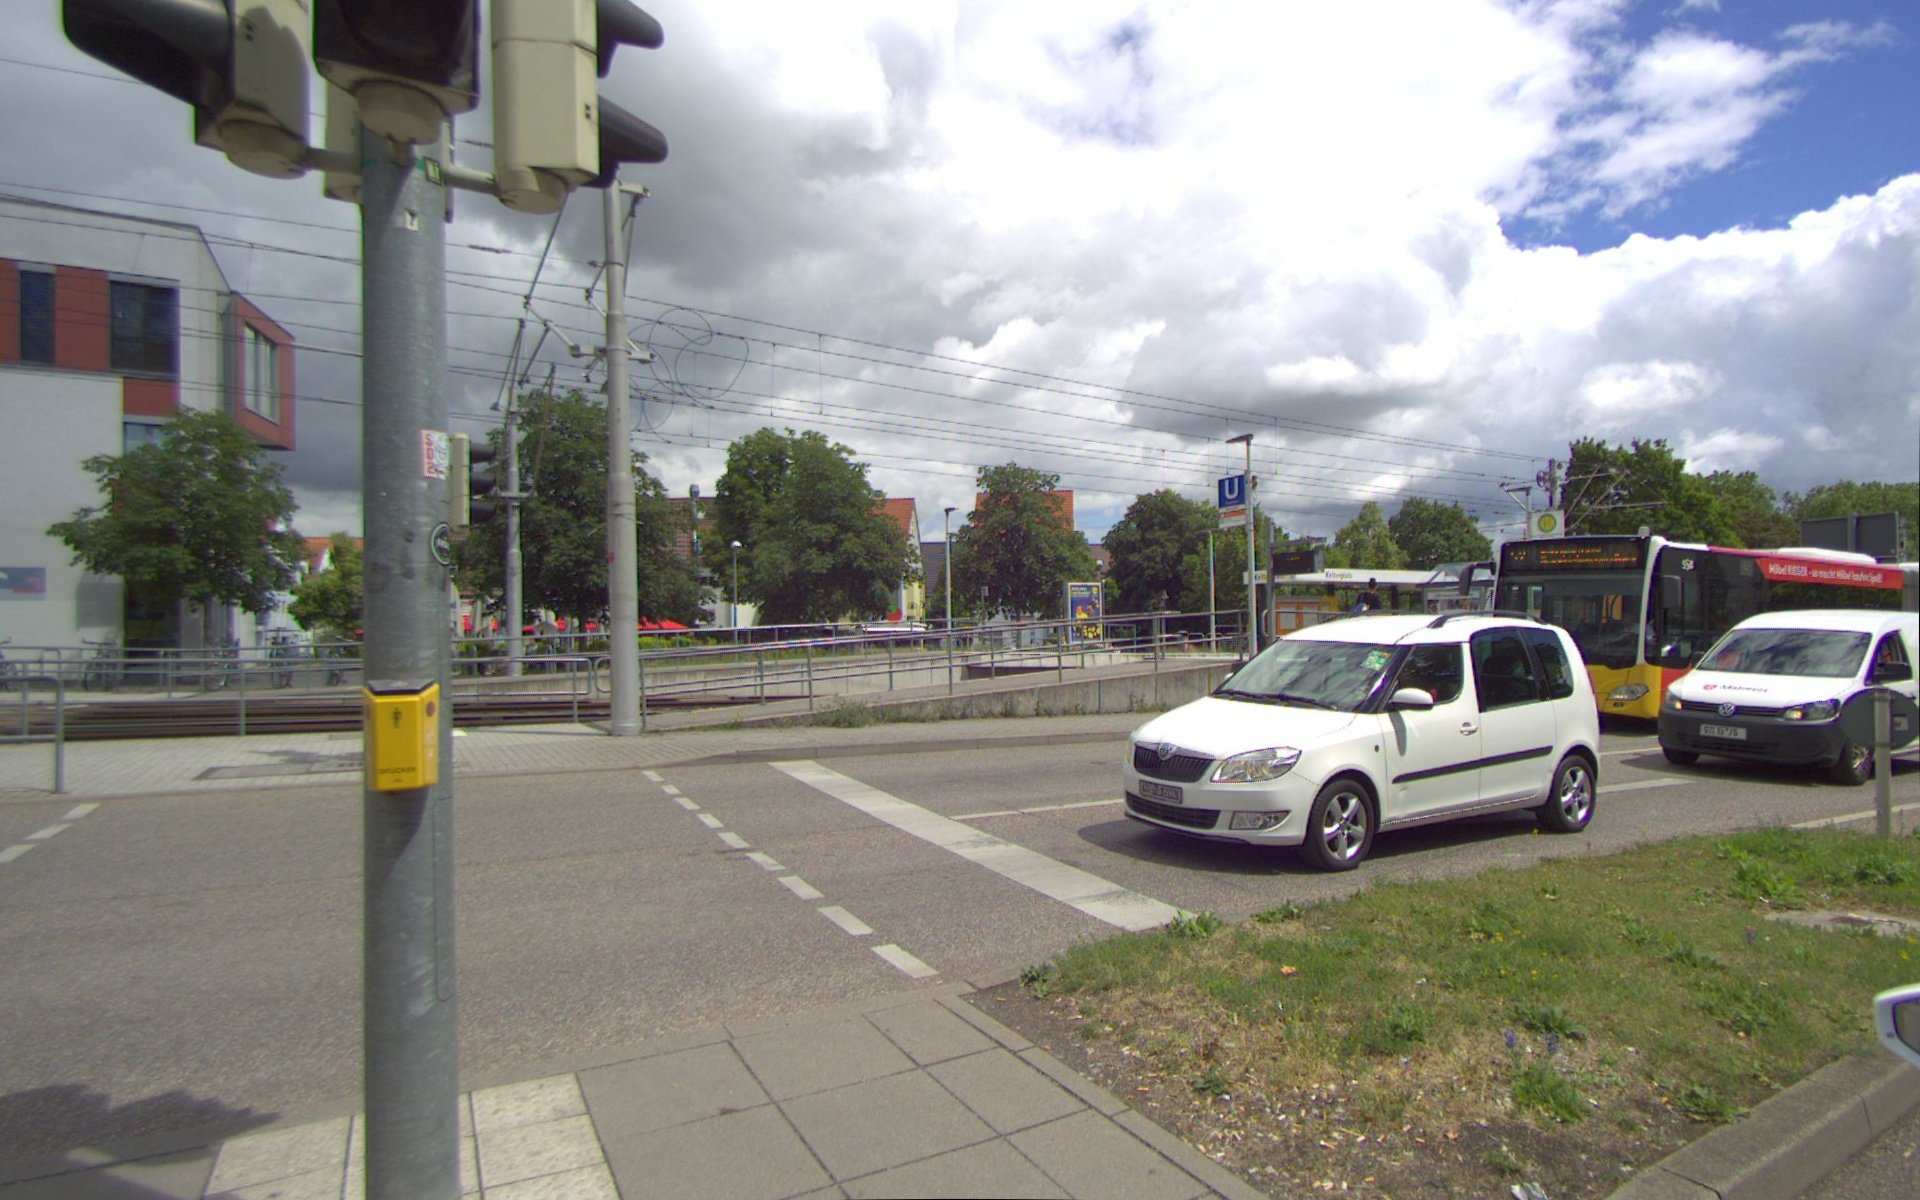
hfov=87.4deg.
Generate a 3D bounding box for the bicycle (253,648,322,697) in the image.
[{"bbox_3d":[-14.993,1.595,22.446,0.682,1.042,1.899,1,-3,-15],"label":"bicycle"}]

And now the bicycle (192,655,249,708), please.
[{"bbox_3d":[-16.119,1.759,21.925,0.685,1.077,1.891,2,-3,-28],"label":"bicycle"}]

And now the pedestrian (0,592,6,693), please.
[{"bbox_3d":[-18.026,0.773,18.294,0.895,1.845,0.769,-2,-3,37],"label":"pedestrian"}]

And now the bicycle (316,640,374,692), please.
[{"bbox_3d":[-13.808,1.464,22.603,0.599,1.112,1.899,1,-3,-16],"label":"bicycle"}]

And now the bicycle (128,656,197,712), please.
[{"bbox_3d":[-16.933,1.769,21.365,0.685,1.112,1.893,2,-3,-25],"label":"bicycle"}]

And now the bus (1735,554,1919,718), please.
[{"bbox_3d":[21.009,0.845,22.487,8.859,3.110,2.713,2,-2,-31],"label":"bus"}]

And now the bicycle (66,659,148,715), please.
[{"bbox_3d":[-17.738,1.789,20.939,0.684,1.112,1.896,1,-4,-21],"label":"bicycle"}]

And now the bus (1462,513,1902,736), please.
[{"bbox_3d":[13.065,0.531,17.812,9.591,3.150,2.713,2,-2,-31],"label":"bus"}]

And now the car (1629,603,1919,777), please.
[{"bbox_3d":[9.898,0.964,11.659,4.453,1.684,1.754,1,-3,-30],"label":"car"}]

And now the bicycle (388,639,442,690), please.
[{"bbox_3d":[-12.496,1.463,23.079,0.683,1.112,1.899,-1,-2,-16],"label":"bicycle"}]

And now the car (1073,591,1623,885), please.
[{"bbox_3d":[2.967,0.840,7.476,4.030,1.670,1.691,1,-1,-30],"label":"car"}]

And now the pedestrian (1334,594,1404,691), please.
[{"bbox_3d":[8.828,0.924,21.717,1.016,2.040,0.967,2,-3,-27],"label":"pedestrian"}]
